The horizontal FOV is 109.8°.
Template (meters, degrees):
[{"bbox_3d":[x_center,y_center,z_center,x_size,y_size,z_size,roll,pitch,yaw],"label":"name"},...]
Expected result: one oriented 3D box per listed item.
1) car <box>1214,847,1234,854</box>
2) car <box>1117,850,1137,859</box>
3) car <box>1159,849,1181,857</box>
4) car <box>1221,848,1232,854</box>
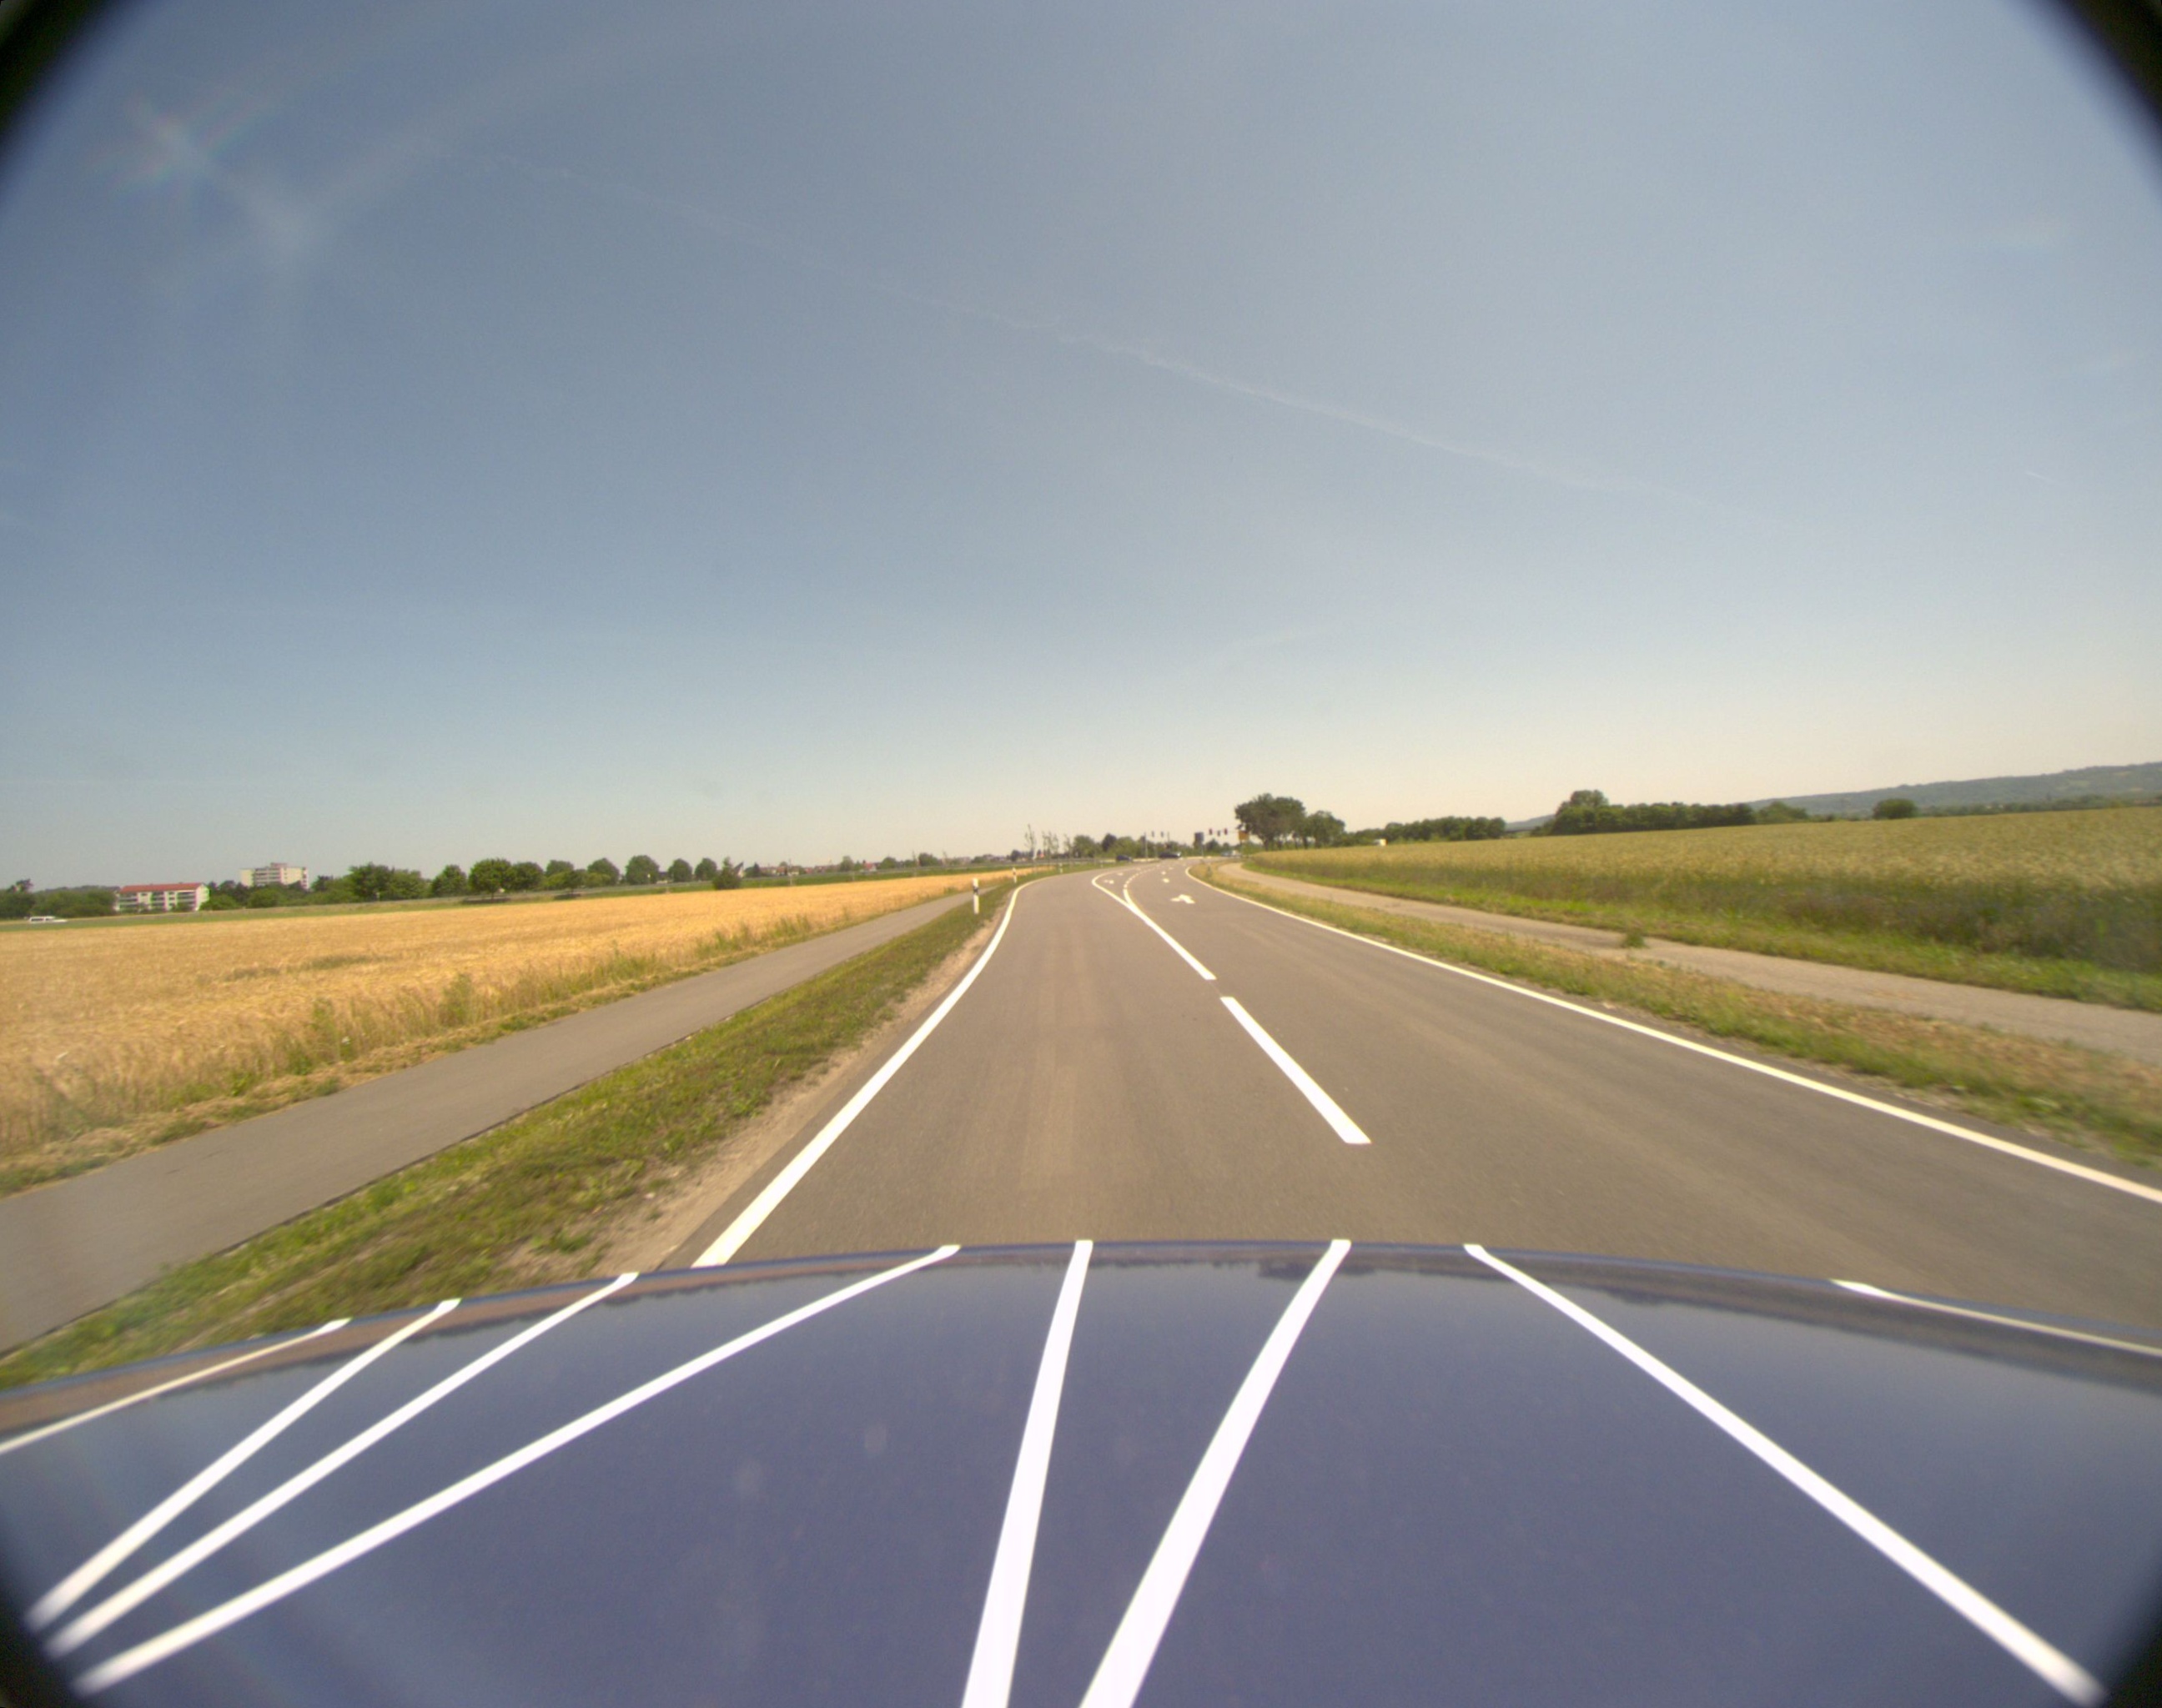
[{"bbox_3d":[31.994,-0.827,170.029,4.157,1.451,1.658,-3,1,-25],"label":"car"},{"bbox_3d":[10.061,0.150,167.552,3.911,1.797,1.923,-4,0,22],"label":"car"},{"bbox_3d":[19.315,-0.226,165.012,4.520,1.631,1.815,-2,1,9],"label":"car"},{"bbox_3d":[35.738,-0.737,186.524,1.654,1.557,4.007,-2,0,29],"label":"car"}]
